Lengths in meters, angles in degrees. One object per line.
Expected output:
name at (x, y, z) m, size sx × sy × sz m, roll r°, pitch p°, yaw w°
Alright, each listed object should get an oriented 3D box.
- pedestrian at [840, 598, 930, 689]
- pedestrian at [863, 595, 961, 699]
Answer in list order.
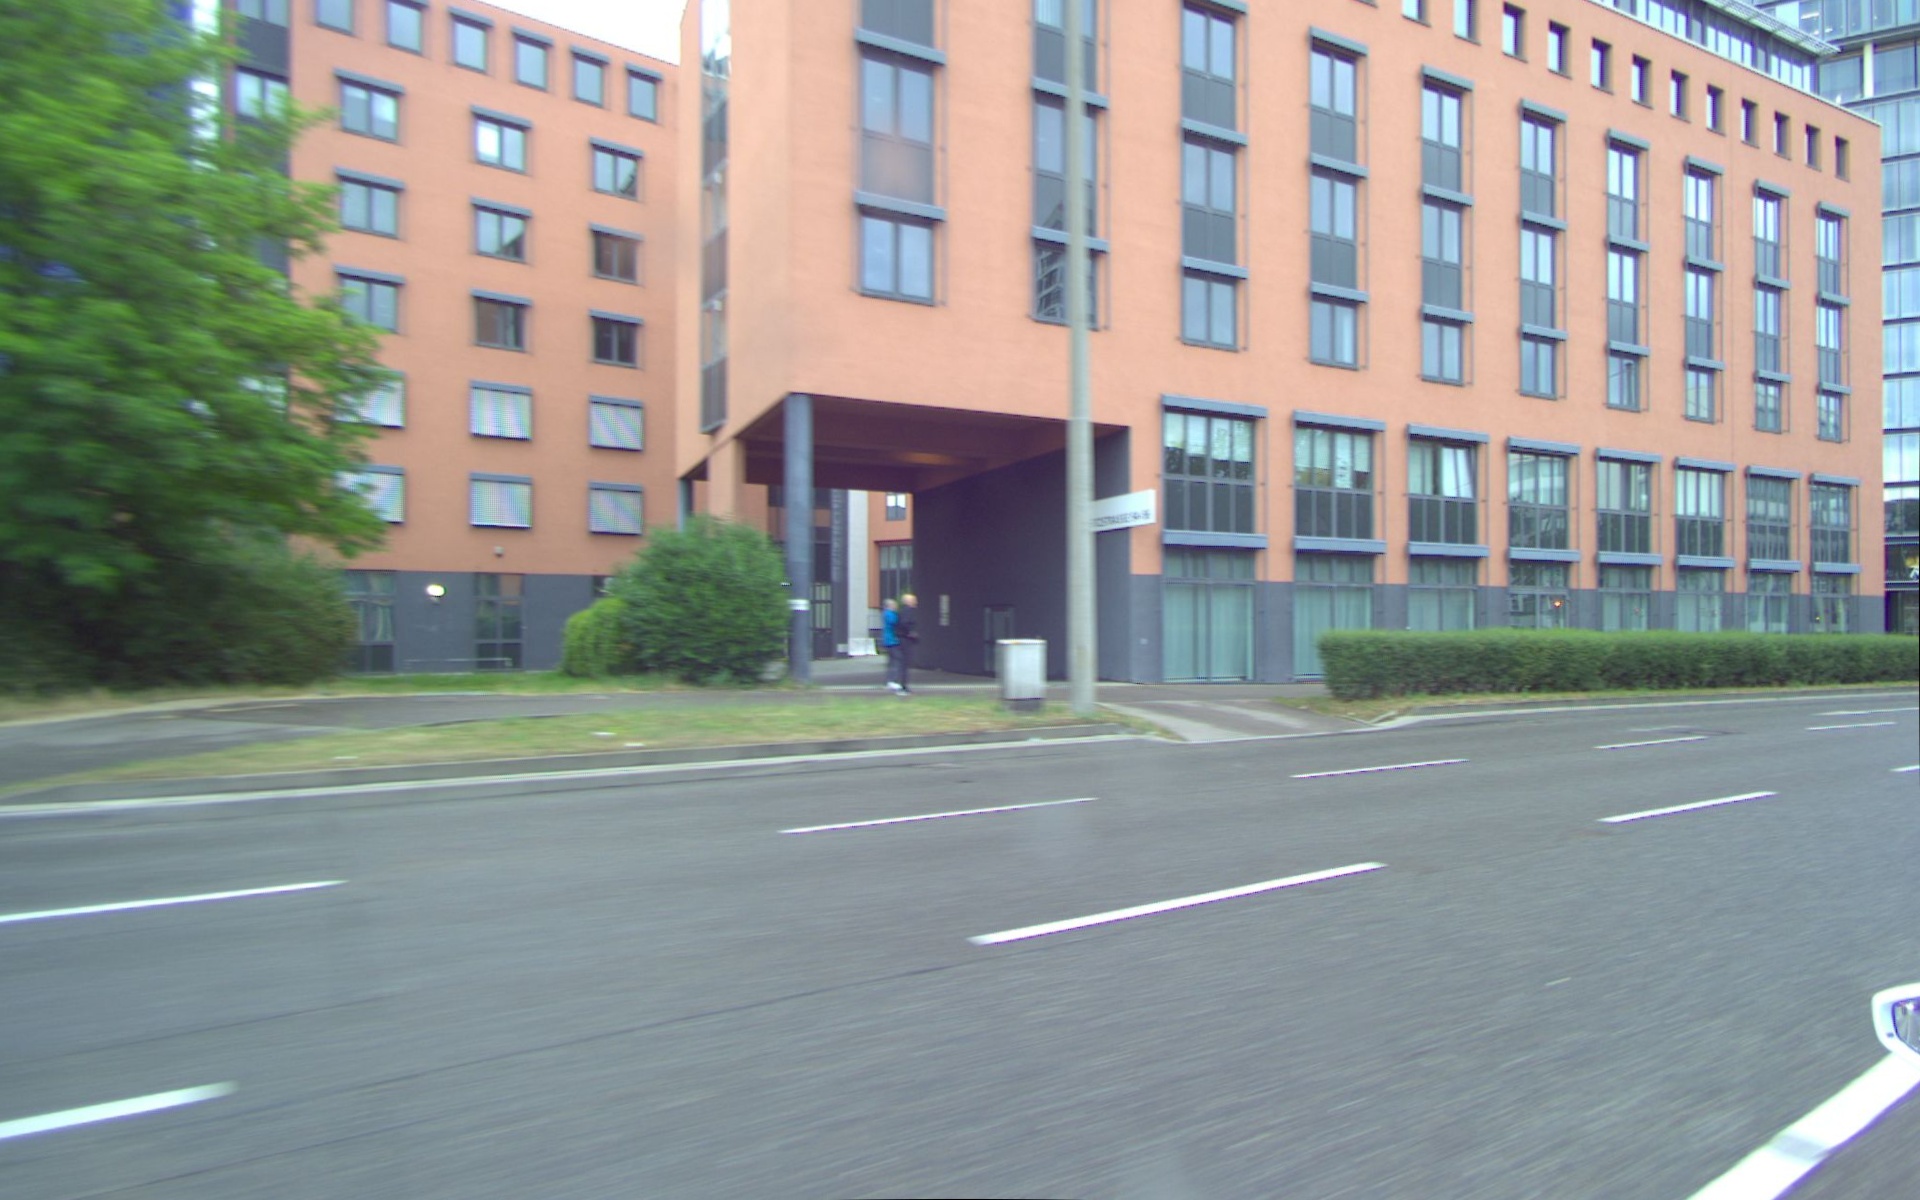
pedestrian at (-1.487, 0.889, 19.774) m, size 1.401 × 1.700 × 1.203 m, roll 3°, pitch -4°, yaw -25°
pedestrian at (-0.907, 0.906, 18.799) m, size 1.420 × 1.847 × 1.312 m, roll 3°, pitch -4°, yaw -25°
